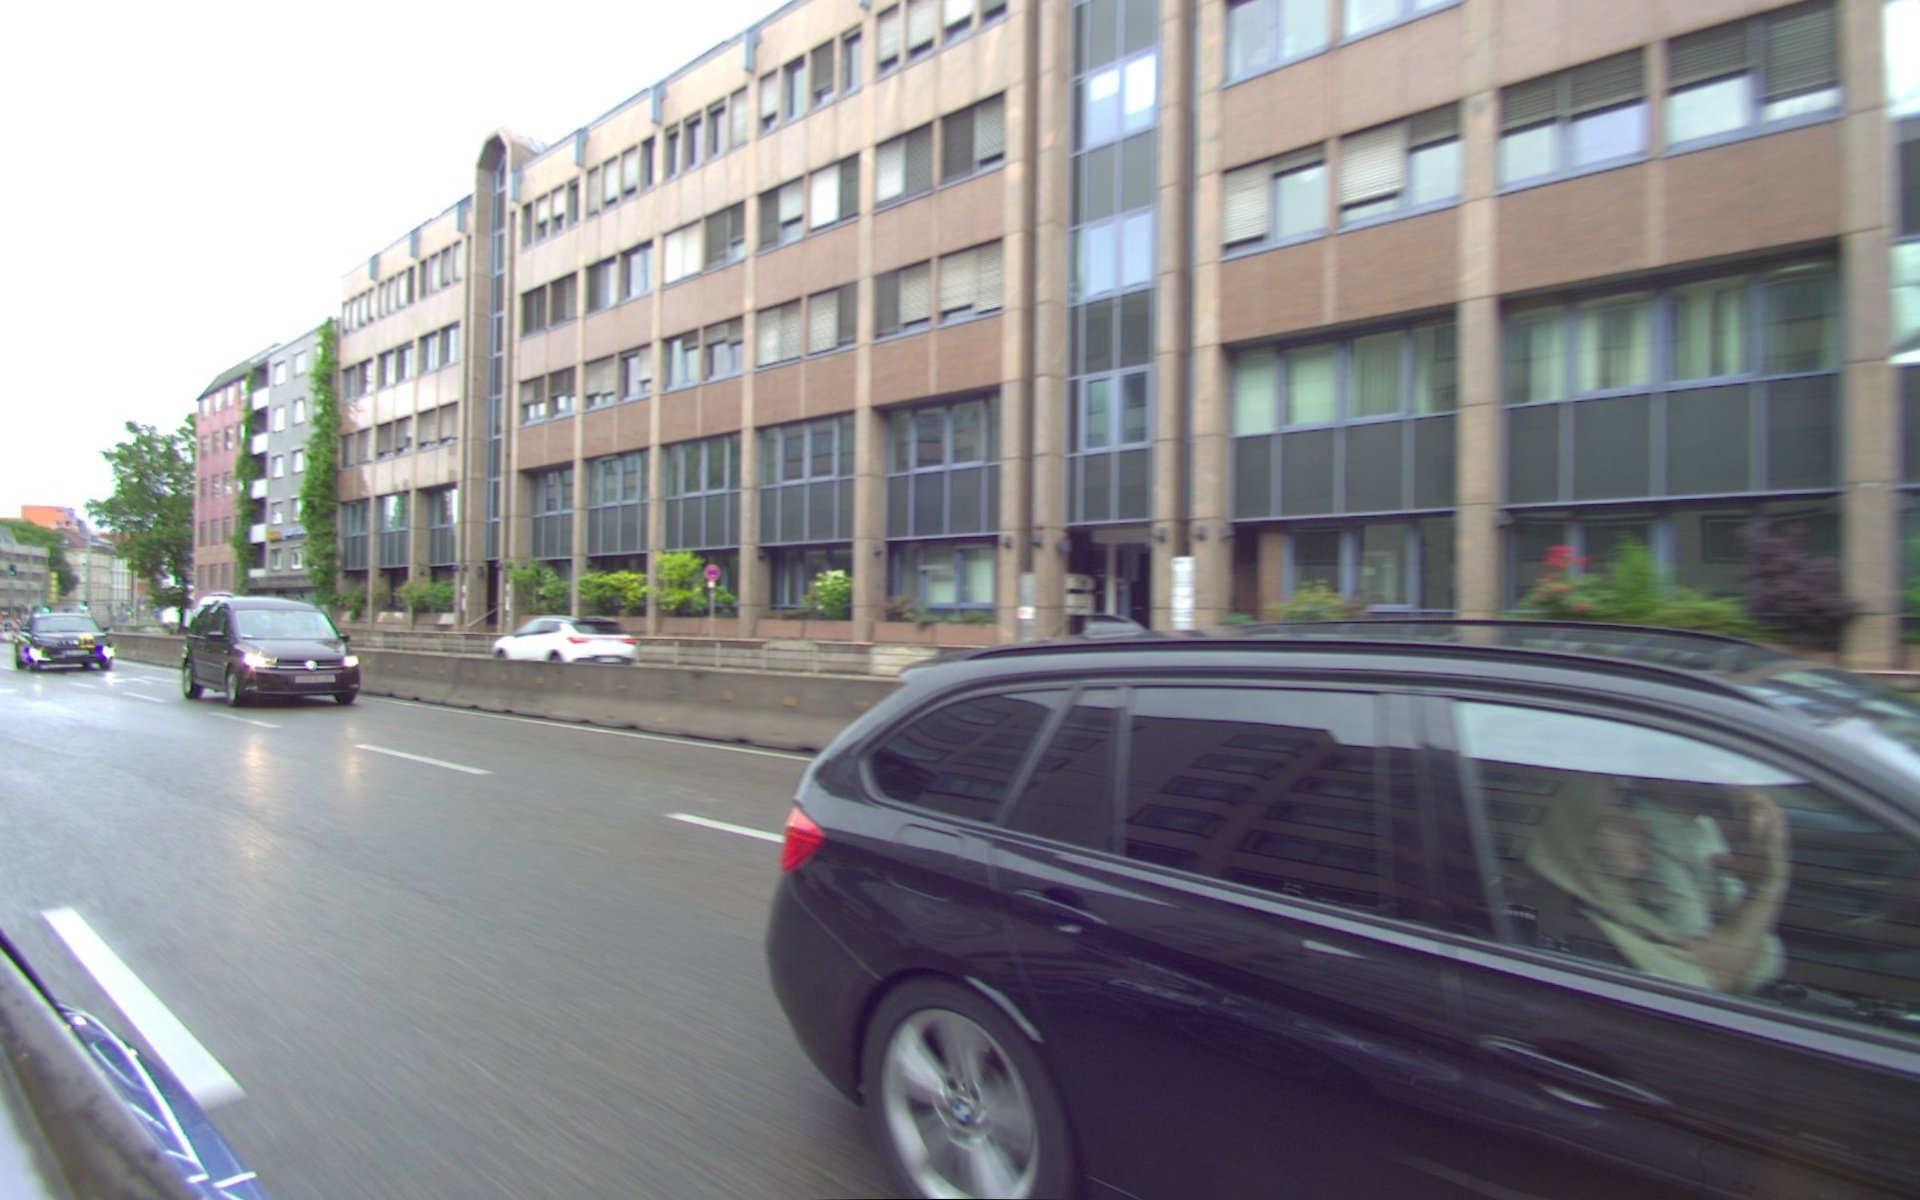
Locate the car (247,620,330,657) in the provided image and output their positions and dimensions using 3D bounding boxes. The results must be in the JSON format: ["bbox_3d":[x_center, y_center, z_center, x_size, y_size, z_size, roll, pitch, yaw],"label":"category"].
[{"bbox_3d":[-25.529,1.445,38.432,3.694,1.329,1.701,-1,-2,41],"label":"car"}]

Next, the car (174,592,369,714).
[{"bbox_3d":[-11.751,0.828,17.173,4.249,1.814,1.775,-1,-1,42],"label":"car"}]

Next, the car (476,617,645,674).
[{"bbox_3d":[-9.773,1.055,24.625,4.544,1.279,1.826,-1,-2,39],"label":"car"}]

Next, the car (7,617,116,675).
[{"bbox_3d":[-25.711,1.262,28.914,4.353,1.545,1.749,-1,-2,41],"label":"car"}]

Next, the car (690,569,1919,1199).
[{"bbox_3d":[1.556,0.706,1.987,4.654,1.454,1.749,-1,-2,41],"label":"car"}]
